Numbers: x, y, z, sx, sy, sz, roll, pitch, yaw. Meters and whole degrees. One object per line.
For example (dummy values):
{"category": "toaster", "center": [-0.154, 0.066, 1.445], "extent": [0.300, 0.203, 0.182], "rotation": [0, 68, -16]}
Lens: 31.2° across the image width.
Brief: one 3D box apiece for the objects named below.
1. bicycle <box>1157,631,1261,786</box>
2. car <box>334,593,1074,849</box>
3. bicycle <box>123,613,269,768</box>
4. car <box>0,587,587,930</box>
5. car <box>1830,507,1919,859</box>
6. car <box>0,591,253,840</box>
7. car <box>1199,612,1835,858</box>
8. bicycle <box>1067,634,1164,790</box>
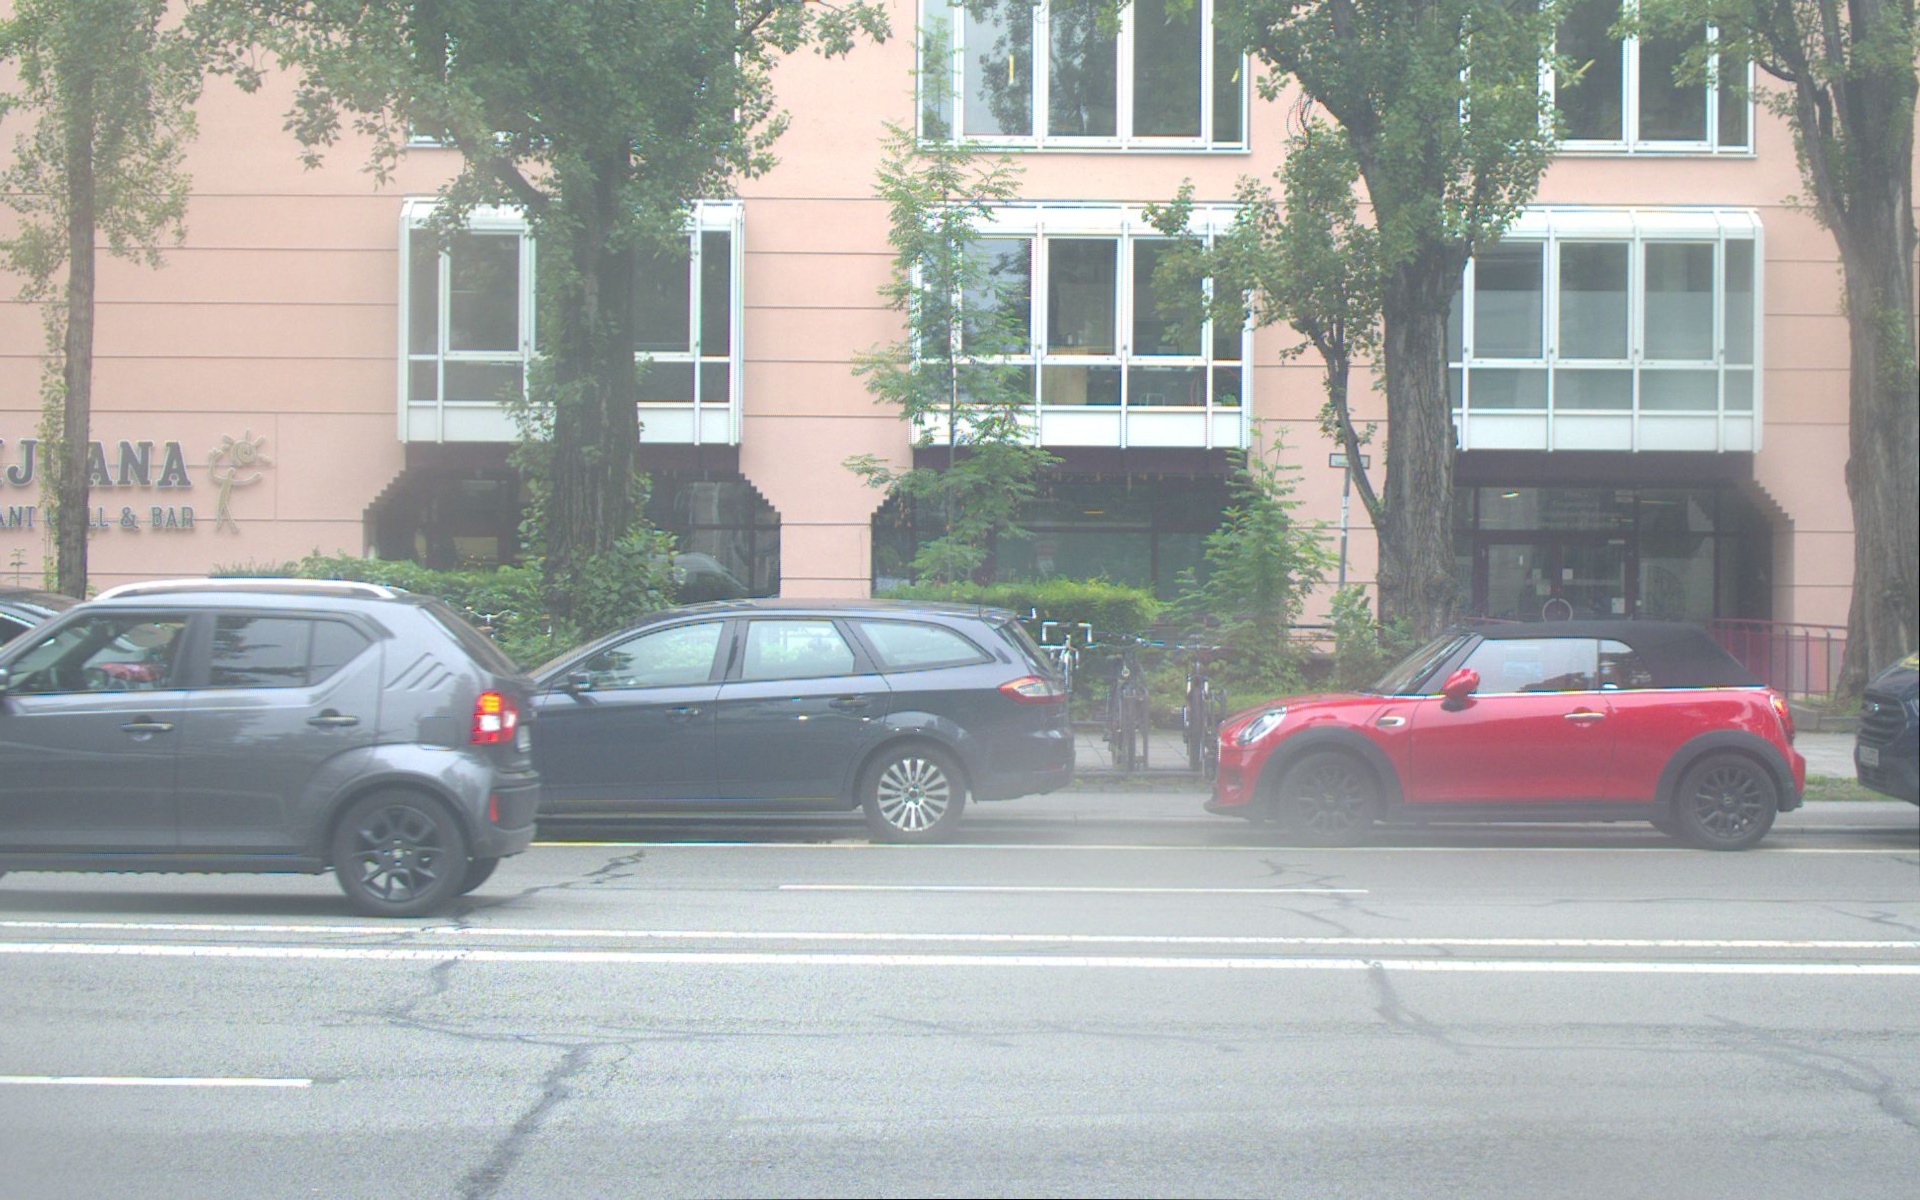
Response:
{"category": "bicycle", "center": [1.918, 0.824, 26.661], "extent": [0.674, 1.120, 1.742], "rotation": [1, 1, 0]}
{"category": "car", "center": [-1.599, 0.753, 22.384], "extent": [4.608, 1.523, 1.793], "rotation": [1, 1, 0]}
{"category": "bicycle", "center": [-5.907, 0.677, 26.681], "extent": [0.674, 1.120, 1.989], "rotation": [1, 1, 0]}
{"category": "car", "center": [-3.792, 0.718, 16.636], "extent": [3.740, 1.522, 1.849], "rotation": [1, 0, 0]}
{"category": "car", "center": [8.680, 0.540, 22.379], "extent": [5.479, 2.189, 2.024], "rotation": [1, 1, 0]}
{"category": "car", "center": [-7.058, 0.703, 22.453], "extent": [4.499, 1.523, 1.793], "rotation": [1, 1, 0]}
{"category": "car", "center": [3.509, 0.840, 22.193], "extent": [3.861, 1.444, 1.678], "rotation": [1, 1, 3]}
{"category": "bicycle", "center": [1.197, 0.849, 26.666], "extent": [0.674, 1.120, 1.742], "rotation": [1, 1, 0]}
